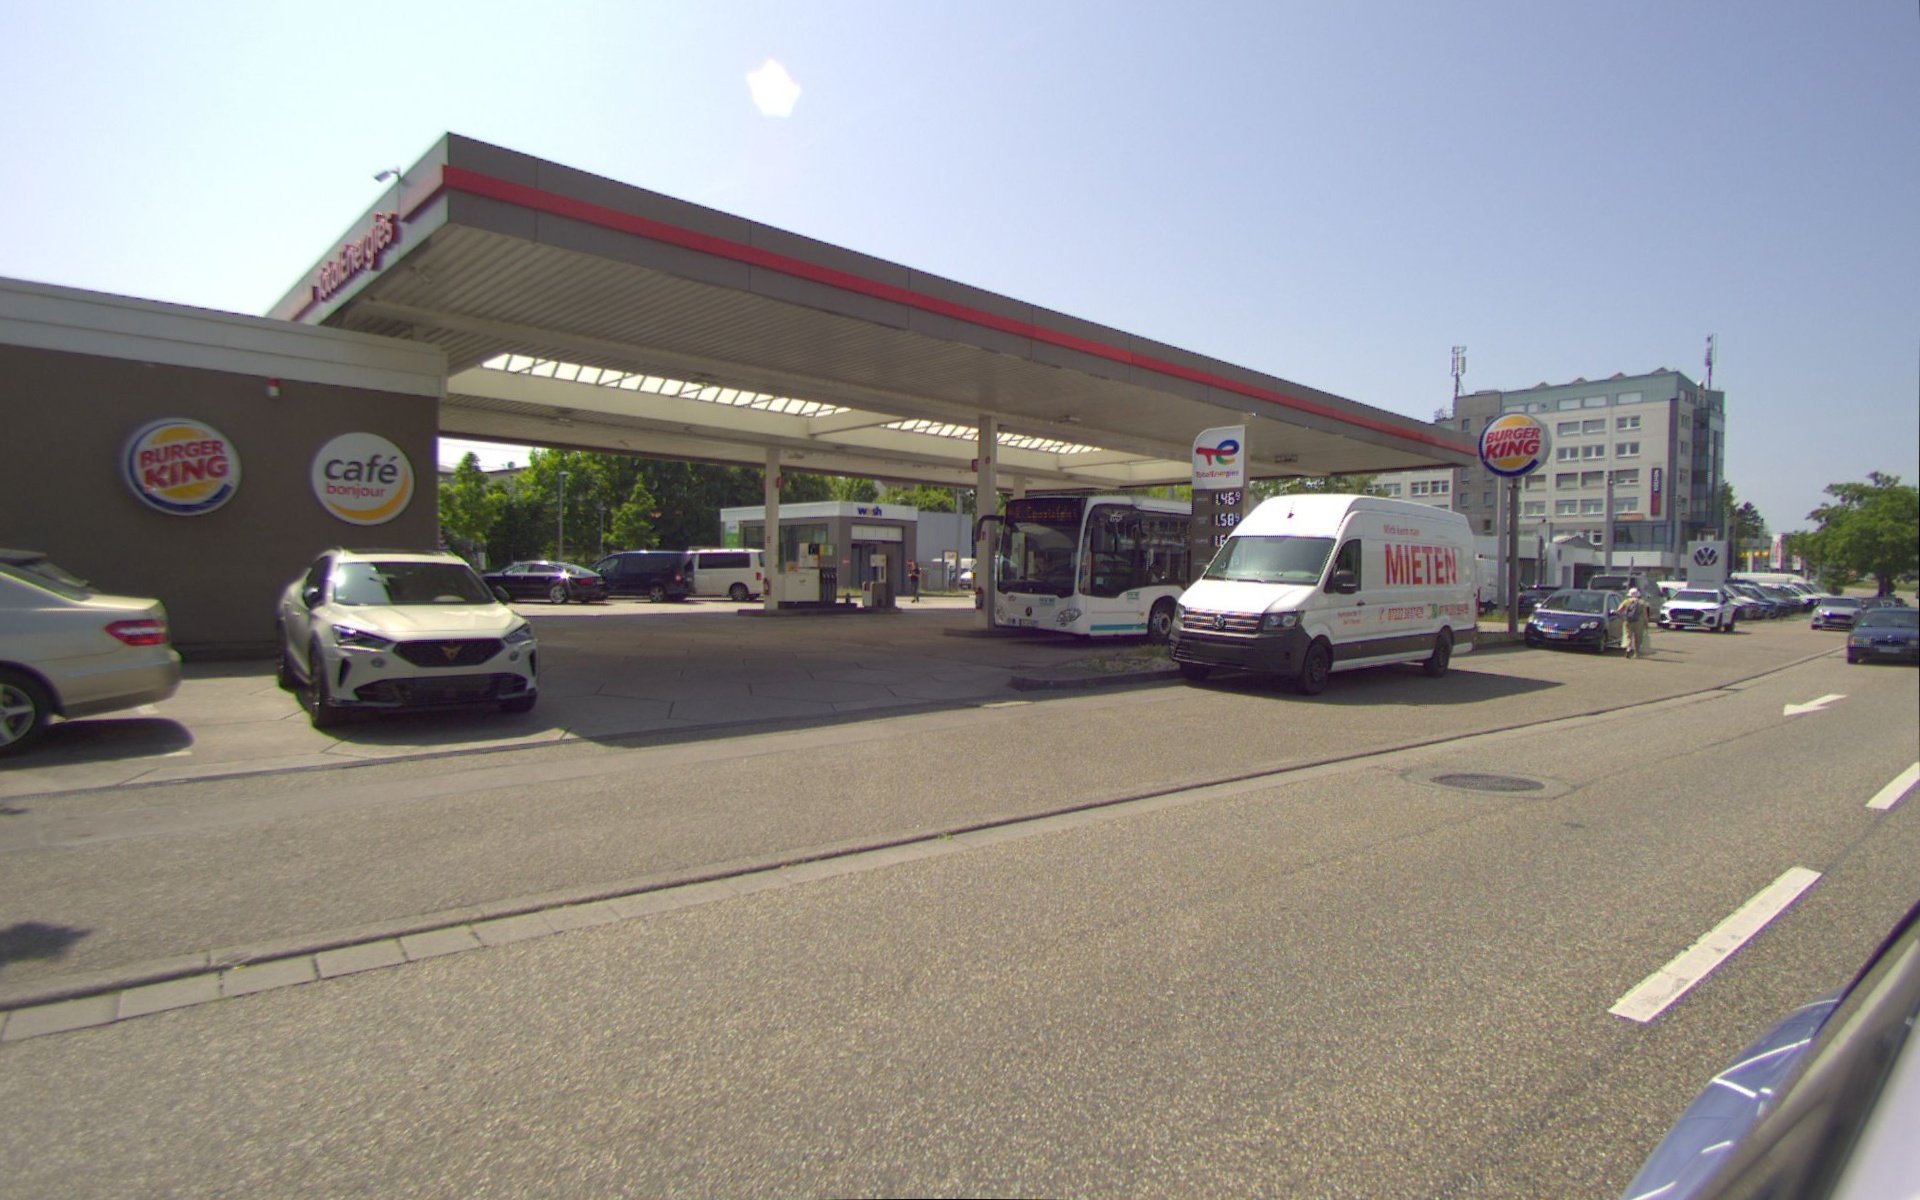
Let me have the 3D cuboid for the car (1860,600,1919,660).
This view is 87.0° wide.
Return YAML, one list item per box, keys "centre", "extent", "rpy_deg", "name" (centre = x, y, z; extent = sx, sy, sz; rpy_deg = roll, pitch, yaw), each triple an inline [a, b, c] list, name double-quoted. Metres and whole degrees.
- centre: [23.265, 0.692, 24.747]
  extent: [3.695, 1.356, 1.629]
  rpy_deg: [0, 1, -45]
  name: "car"

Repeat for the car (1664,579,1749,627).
- centre: [27.948, 0.091, 37.863]
  extent: [3.934, 1.600, 1.857]
  rpy_deg: [0, 4, -44]
  name: "car"

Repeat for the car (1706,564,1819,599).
- centre: [64.287, -1.518, 81.245]
  extent: [1.695, 2.636, 6.882]
  rpy_deg: [0, 2, -40]
  name: "car"

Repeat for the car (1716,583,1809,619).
- centre: [45.271, 0.038, 57.117]
  extent: [3.986, 1.871, 1.699]
  rpy_deg: [3, 2, 42]
  name: "car"

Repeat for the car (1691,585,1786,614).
- centre: [43.013, -0.047, 55.955]
  extent: [3.986, 1.467, 1.699]
  rpy_deg: [3, 2, 42]
  name: "car"

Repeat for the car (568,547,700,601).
- centre: [-11.751, -0.962, 36.602]
  extent: [4.251, 1.825, 1.714]
  rpy_deg: [1, 1, 7]
  name: "car"

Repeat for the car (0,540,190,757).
- centre: [-8.227, 0.316, 6.899]
  extent: [4.562, 1.484, 1.795]
  rpy_deg: [-1, 4, -45]
  name: "car"

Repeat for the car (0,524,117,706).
- centre: [-9.955, 0.095, 8.582]
  extent: [4.183, 1.555, 1.903]
  rpy_deg: [-1, 4, -45]
  name: "car"

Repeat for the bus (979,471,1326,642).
- centre: [4.662, -0.879, 22.848]
  extent: [8.920, 3.191, 2.754]
  rpy_deg: [0, 2, -41]
  name: "bus"

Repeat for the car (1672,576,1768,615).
- centre: [40.996, -0.284, 54.619]
  extent: [3.986, 1.941, 1.699]
  rpy_deg: [3, 2, 42]
  name: "car"

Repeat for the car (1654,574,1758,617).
- centre: [37.165, -0.253, 50.468]
  extent: [3.986, 1.942, 1.699]
  rpy_deg: [3, 2, 42]
  name: "car"

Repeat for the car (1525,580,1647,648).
- centre: [15.592, 0.295, 25.155]
  extent: [3.778, 1.466, 1.678]
  rpy_deg: [0, 4, -45]
  name: "car"

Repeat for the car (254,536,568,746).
- centre: [-5.790, 0.209, 10.335]
  extent: [1.874, 1.545, 4.633]
  rpy_deg: [0, 4, -41]
  name: "car"

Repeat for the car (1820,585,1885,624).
- centre: [39.584, 0.160, 44.867]
  extent: [3.934, 1.578, 1.864]
  rpy_deg: [0, 2, -44]
  name: "car"

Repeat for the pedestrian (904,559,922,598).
- centre: [-1.977, -0.888, 42.324]
  extent: [0.484, 1.601, 0.572]
  rpy_deg: [0, 1, -39]
  name: "pedestrian"

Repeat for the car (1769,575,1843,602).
- centre: [60.672, -0.841, 72.622]
  extent: [3.986, 1.787, 1.699]
  rpy_deg: [3, 2, 42]
  name: "car"

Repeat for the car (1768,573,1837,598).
- centre: [64.055, -1.142, 76.979]
  extent: [3.986, 1.787, 1.699]
  rpy_deg: [3, 2, 42]
  name: "car"

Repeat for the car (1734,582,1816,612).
- centre: [52.474, -0.238, 65.183]
  extent: [3.986, 1.787, 1.699]
  rpy_deg: [3, 2, 42]
  name: "car"

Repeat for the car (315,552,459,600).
- centre: [-18.592, -0.792, 33.048]
  extent: [1.970, 1.437, 3.986]
  rpy_deg: [1, 2, 12]
  name: "car"

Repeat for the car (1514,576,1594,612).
- centre: [24.297, -0.260, 41.336]
  extent: [3.934, 1.393, 1.805]
  rpy_deg: [0, 2, -44]
  name: "car"

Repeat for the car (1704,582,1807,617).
- centre: [40.401, -0.066, 51.423]
  extent: [3.986, 1.597, 1.699]
  rpy_deg: [3, 2, 42]
  name: "car"

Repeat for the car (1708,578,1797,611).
- centre: [46.708, -0.340, 59.701]
  extent: [3.986, 1.808, 1.699]
  rpy_deg: [3, 2, 42]
  name: "car"

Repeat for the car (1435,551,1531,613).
- centre: [22.429, -0.766, 43.311]
  extent: [2.054, 2.465, 5.486]
  rpy_deg: [3, 2, 45]
  name: "car"

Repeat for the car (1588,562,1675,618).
- centre: [26.307, -0.413, 39.585]
  extent: [3.934, 2.038, 1.996]
  rpy_deg: [0, 2, -44]
  name: "car"

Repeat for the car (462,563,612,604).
- centre: [-14.242, -0.576, 34.189]
  extent: [4.418, 1.274, 1.787]
  rpy_deg: [1, 2, 9]
  name: "car"

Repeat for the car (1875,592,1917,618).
- centre: [54.071, 0.255, 58.429]
  extent: [4.147, 1.415, 1.560]
  rpy_deg: [0, 2, -44]
  name: "car"

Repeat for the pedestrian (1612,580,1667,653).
- centre: [15.660, 0.376, 23.322]
  extent: [0.805, 1.600, 0.705]
  rpy_deg: [1, 4, -34]
  name: "pedestrian"

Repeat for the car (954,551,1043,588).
- centre: [2.555, -1.980, 65.586]
  extent: [1.995, 2.265, 6.281]
  rpy_deg: [2, 2, 45]
  name: "car"

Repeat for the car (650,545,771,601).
- centre: [-9.509, -1.054, 38.761]
  extent: [4.153, 2.018, 1.715]
  rpy_deg: [1, 1, 6]
  name: "car"

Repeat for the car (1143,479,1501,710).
- centre: [5.873, -0.158, 15.605]
  extent: [7.158, 2.807, 2.180]
  rpy_deg: [0, 4, -44]
  name: "car"

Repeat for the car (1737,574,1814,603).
- centre: [55.548, -0.798, 68.985]
  extent: [3.986, 1.787, 1.699]
  rpy_deg: [3, 2, 42]
  name: "car"
